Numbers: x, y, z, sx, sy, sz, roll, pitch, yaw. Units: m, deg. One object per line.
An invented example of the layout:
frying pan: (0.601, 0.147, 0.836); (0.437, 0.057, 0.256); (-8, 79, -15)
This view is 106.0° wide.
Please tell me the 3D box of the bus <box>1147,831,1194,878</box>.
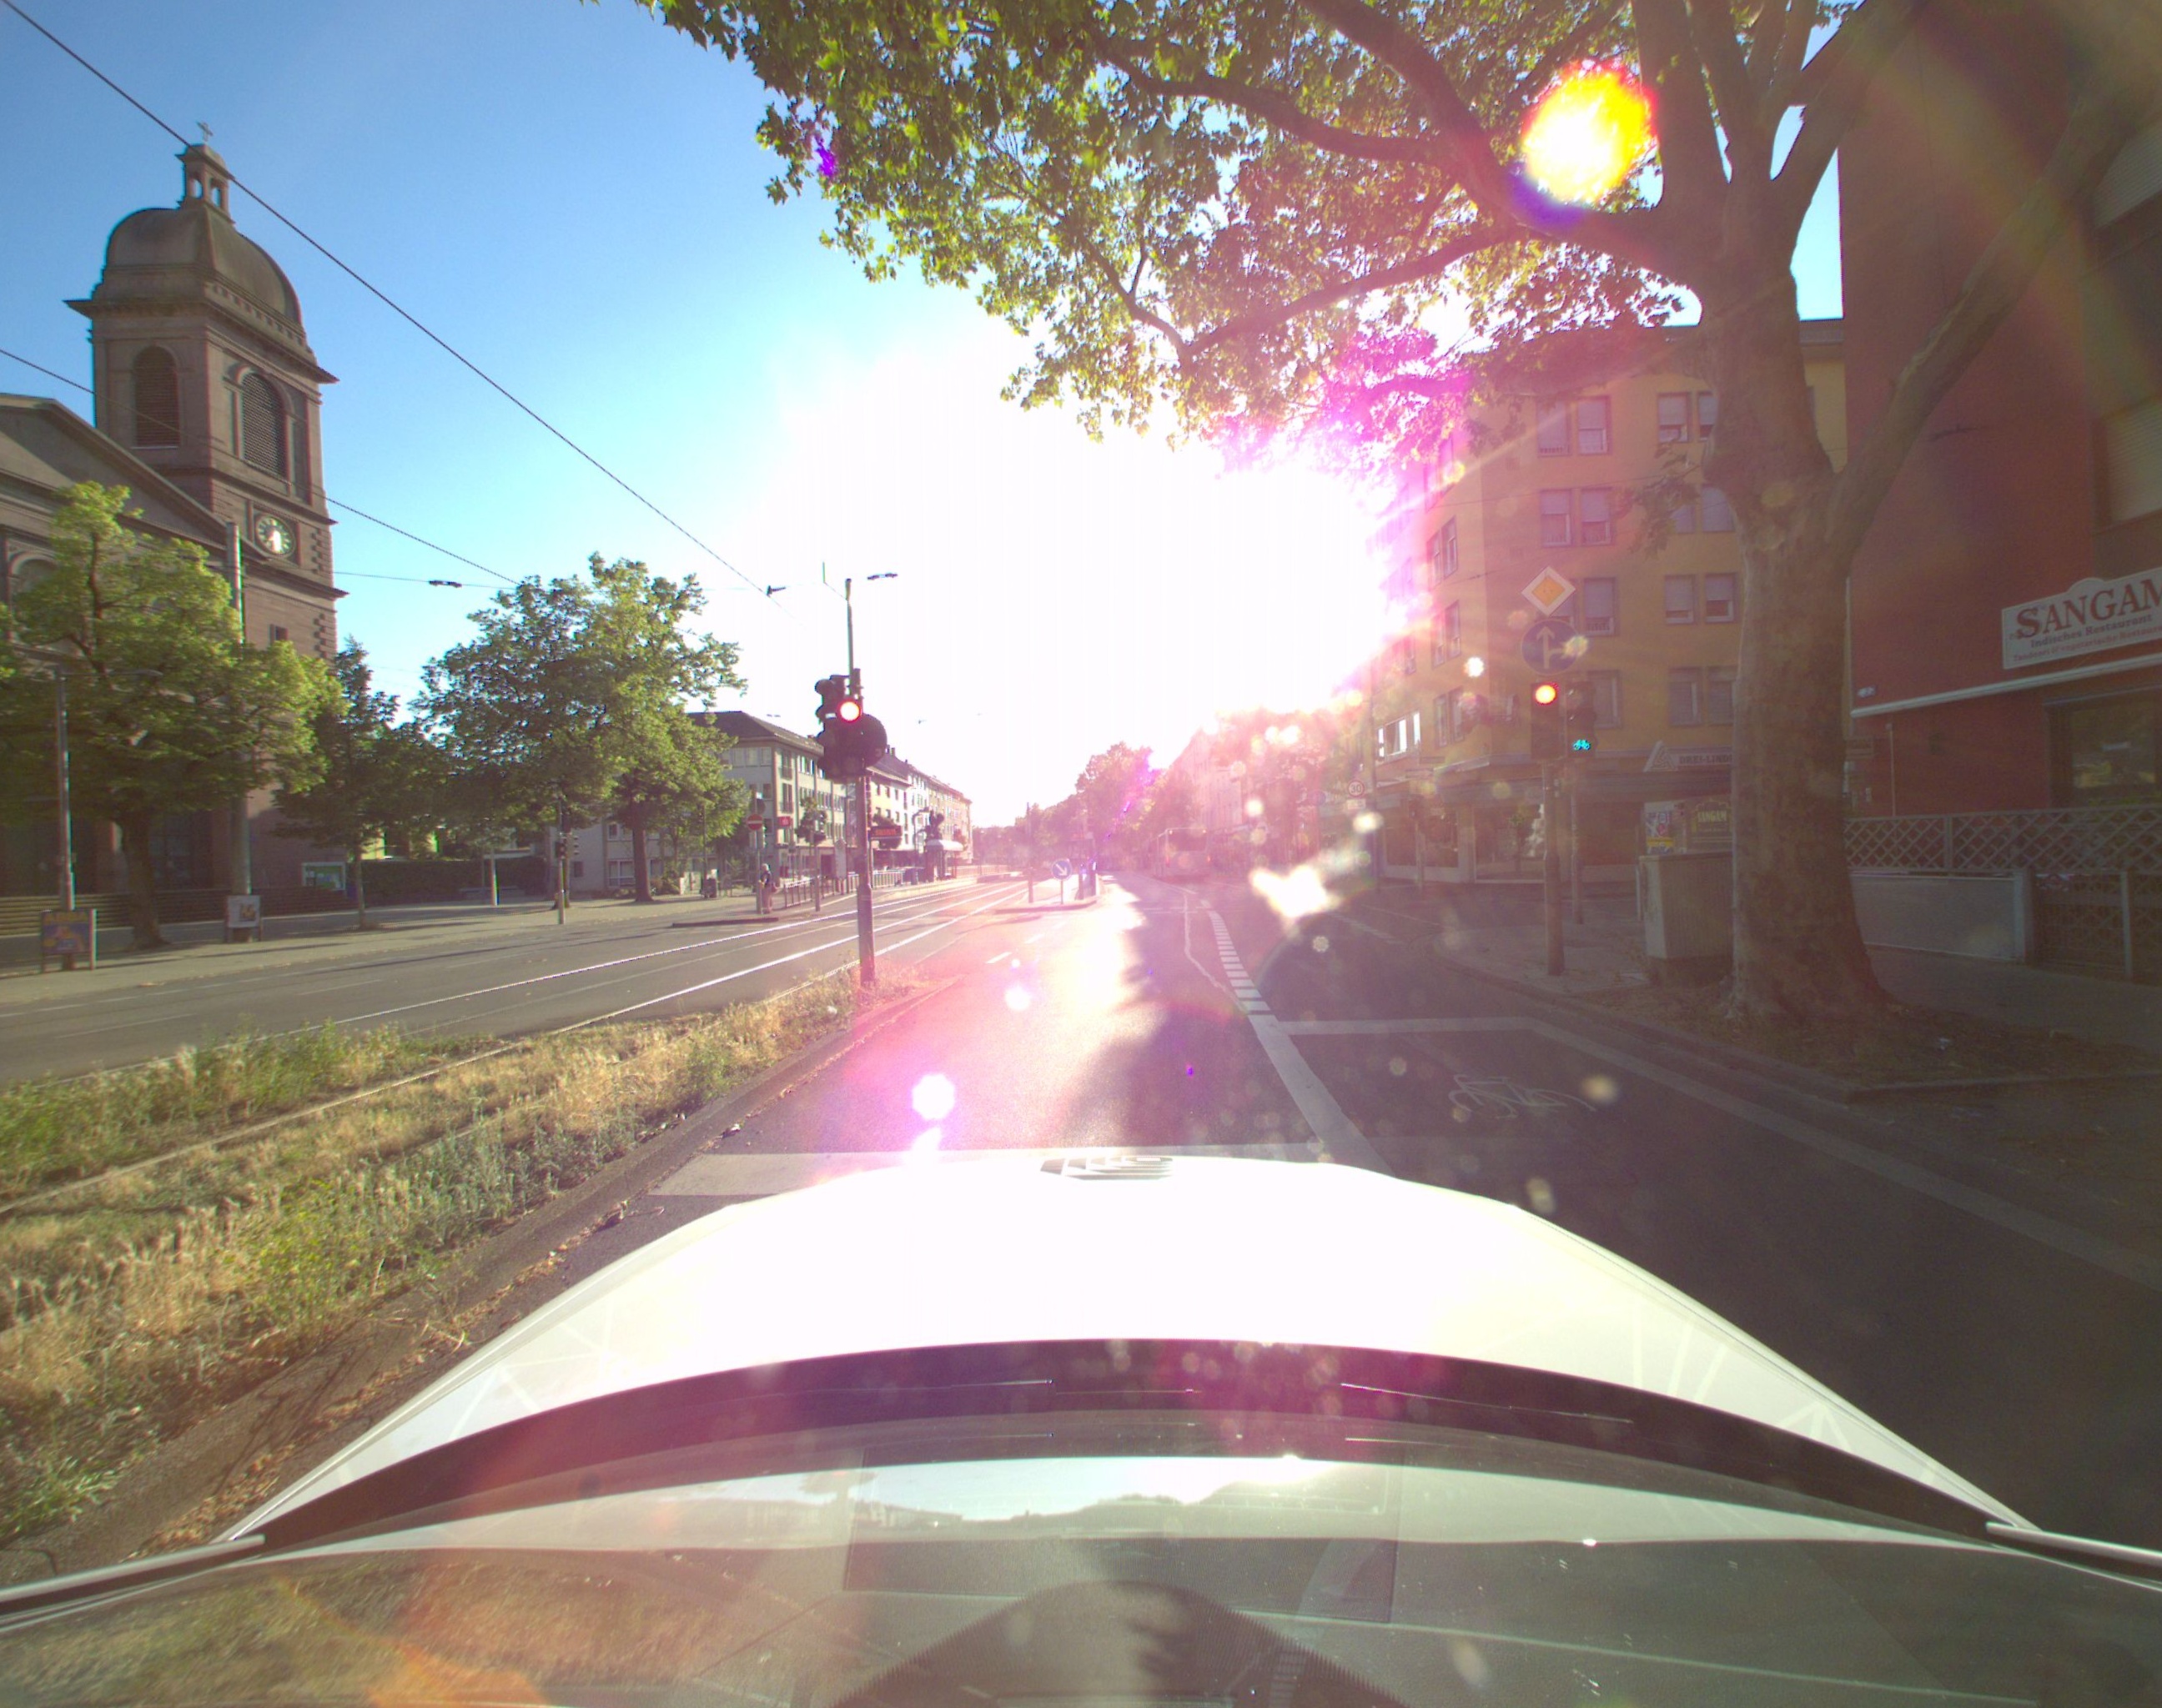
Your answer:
bus: (6.406, 0.073, 59.435); (2.686, 3.118, 9.074); (-1, 0, 2)

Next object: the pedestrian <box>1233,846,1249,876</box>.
pedestrian: (9.700, 0.426, 49.342); (0.721, 1.807, 0.766); (-2, -1, 1)

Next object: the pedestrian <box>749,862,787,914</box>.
pedestrian: (-11.034, 1.193, 28.733); (0.915, 1.760, 0.833); (-2, -1, 2)

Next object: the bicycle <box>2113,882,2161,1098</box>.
bicycle: (5.663, 0.751, 3.630); (0.613, 1.111, 1.812); (-3, 1, 28)

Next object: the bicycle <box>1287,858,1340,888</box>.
bicycle: (8.874, 0.708, 31.118); (1.793, 1.008, 0.540); (-4, -1, -3)

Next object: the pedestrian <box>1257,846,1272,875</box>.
pedestrian: (11.278, 0.406, 50.105); (0.721, 1.723, 0.766); (-2, -1, 1)

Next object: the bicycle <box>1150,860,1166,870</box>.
bicycle: (9.534, 1.383, 100.891); (1.879, 1.077, 0.755); (-6, -1, 4)

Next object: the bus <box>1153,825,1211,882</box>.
bus: (6.062, 0.015, 50.229); (2.686, 3.118, 9.385); (-1, 0, 2)

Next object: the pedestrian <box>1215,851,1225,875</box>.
pedestrian: (9.332, 0.613, 54.659); (0.607, 1.578, 0.852); (-2, 0, 6)

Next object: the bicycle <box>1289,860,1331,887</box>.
bicycle: (8.933, 0.753, 31.773); (1.479, 1.008, 0.454); (-2, 0, -2)

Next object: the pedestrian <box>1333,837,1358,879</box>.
pedestrian: (11.294, 0.169, 34.775); (0.741, 1.780, 0.895); (-2, -1, 1)

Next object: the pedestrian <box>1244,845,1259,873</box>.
pedestrian: (11.000, 0.315, 52.516); (0.721, 1.779, 0.766); (-2, -1, 1)
